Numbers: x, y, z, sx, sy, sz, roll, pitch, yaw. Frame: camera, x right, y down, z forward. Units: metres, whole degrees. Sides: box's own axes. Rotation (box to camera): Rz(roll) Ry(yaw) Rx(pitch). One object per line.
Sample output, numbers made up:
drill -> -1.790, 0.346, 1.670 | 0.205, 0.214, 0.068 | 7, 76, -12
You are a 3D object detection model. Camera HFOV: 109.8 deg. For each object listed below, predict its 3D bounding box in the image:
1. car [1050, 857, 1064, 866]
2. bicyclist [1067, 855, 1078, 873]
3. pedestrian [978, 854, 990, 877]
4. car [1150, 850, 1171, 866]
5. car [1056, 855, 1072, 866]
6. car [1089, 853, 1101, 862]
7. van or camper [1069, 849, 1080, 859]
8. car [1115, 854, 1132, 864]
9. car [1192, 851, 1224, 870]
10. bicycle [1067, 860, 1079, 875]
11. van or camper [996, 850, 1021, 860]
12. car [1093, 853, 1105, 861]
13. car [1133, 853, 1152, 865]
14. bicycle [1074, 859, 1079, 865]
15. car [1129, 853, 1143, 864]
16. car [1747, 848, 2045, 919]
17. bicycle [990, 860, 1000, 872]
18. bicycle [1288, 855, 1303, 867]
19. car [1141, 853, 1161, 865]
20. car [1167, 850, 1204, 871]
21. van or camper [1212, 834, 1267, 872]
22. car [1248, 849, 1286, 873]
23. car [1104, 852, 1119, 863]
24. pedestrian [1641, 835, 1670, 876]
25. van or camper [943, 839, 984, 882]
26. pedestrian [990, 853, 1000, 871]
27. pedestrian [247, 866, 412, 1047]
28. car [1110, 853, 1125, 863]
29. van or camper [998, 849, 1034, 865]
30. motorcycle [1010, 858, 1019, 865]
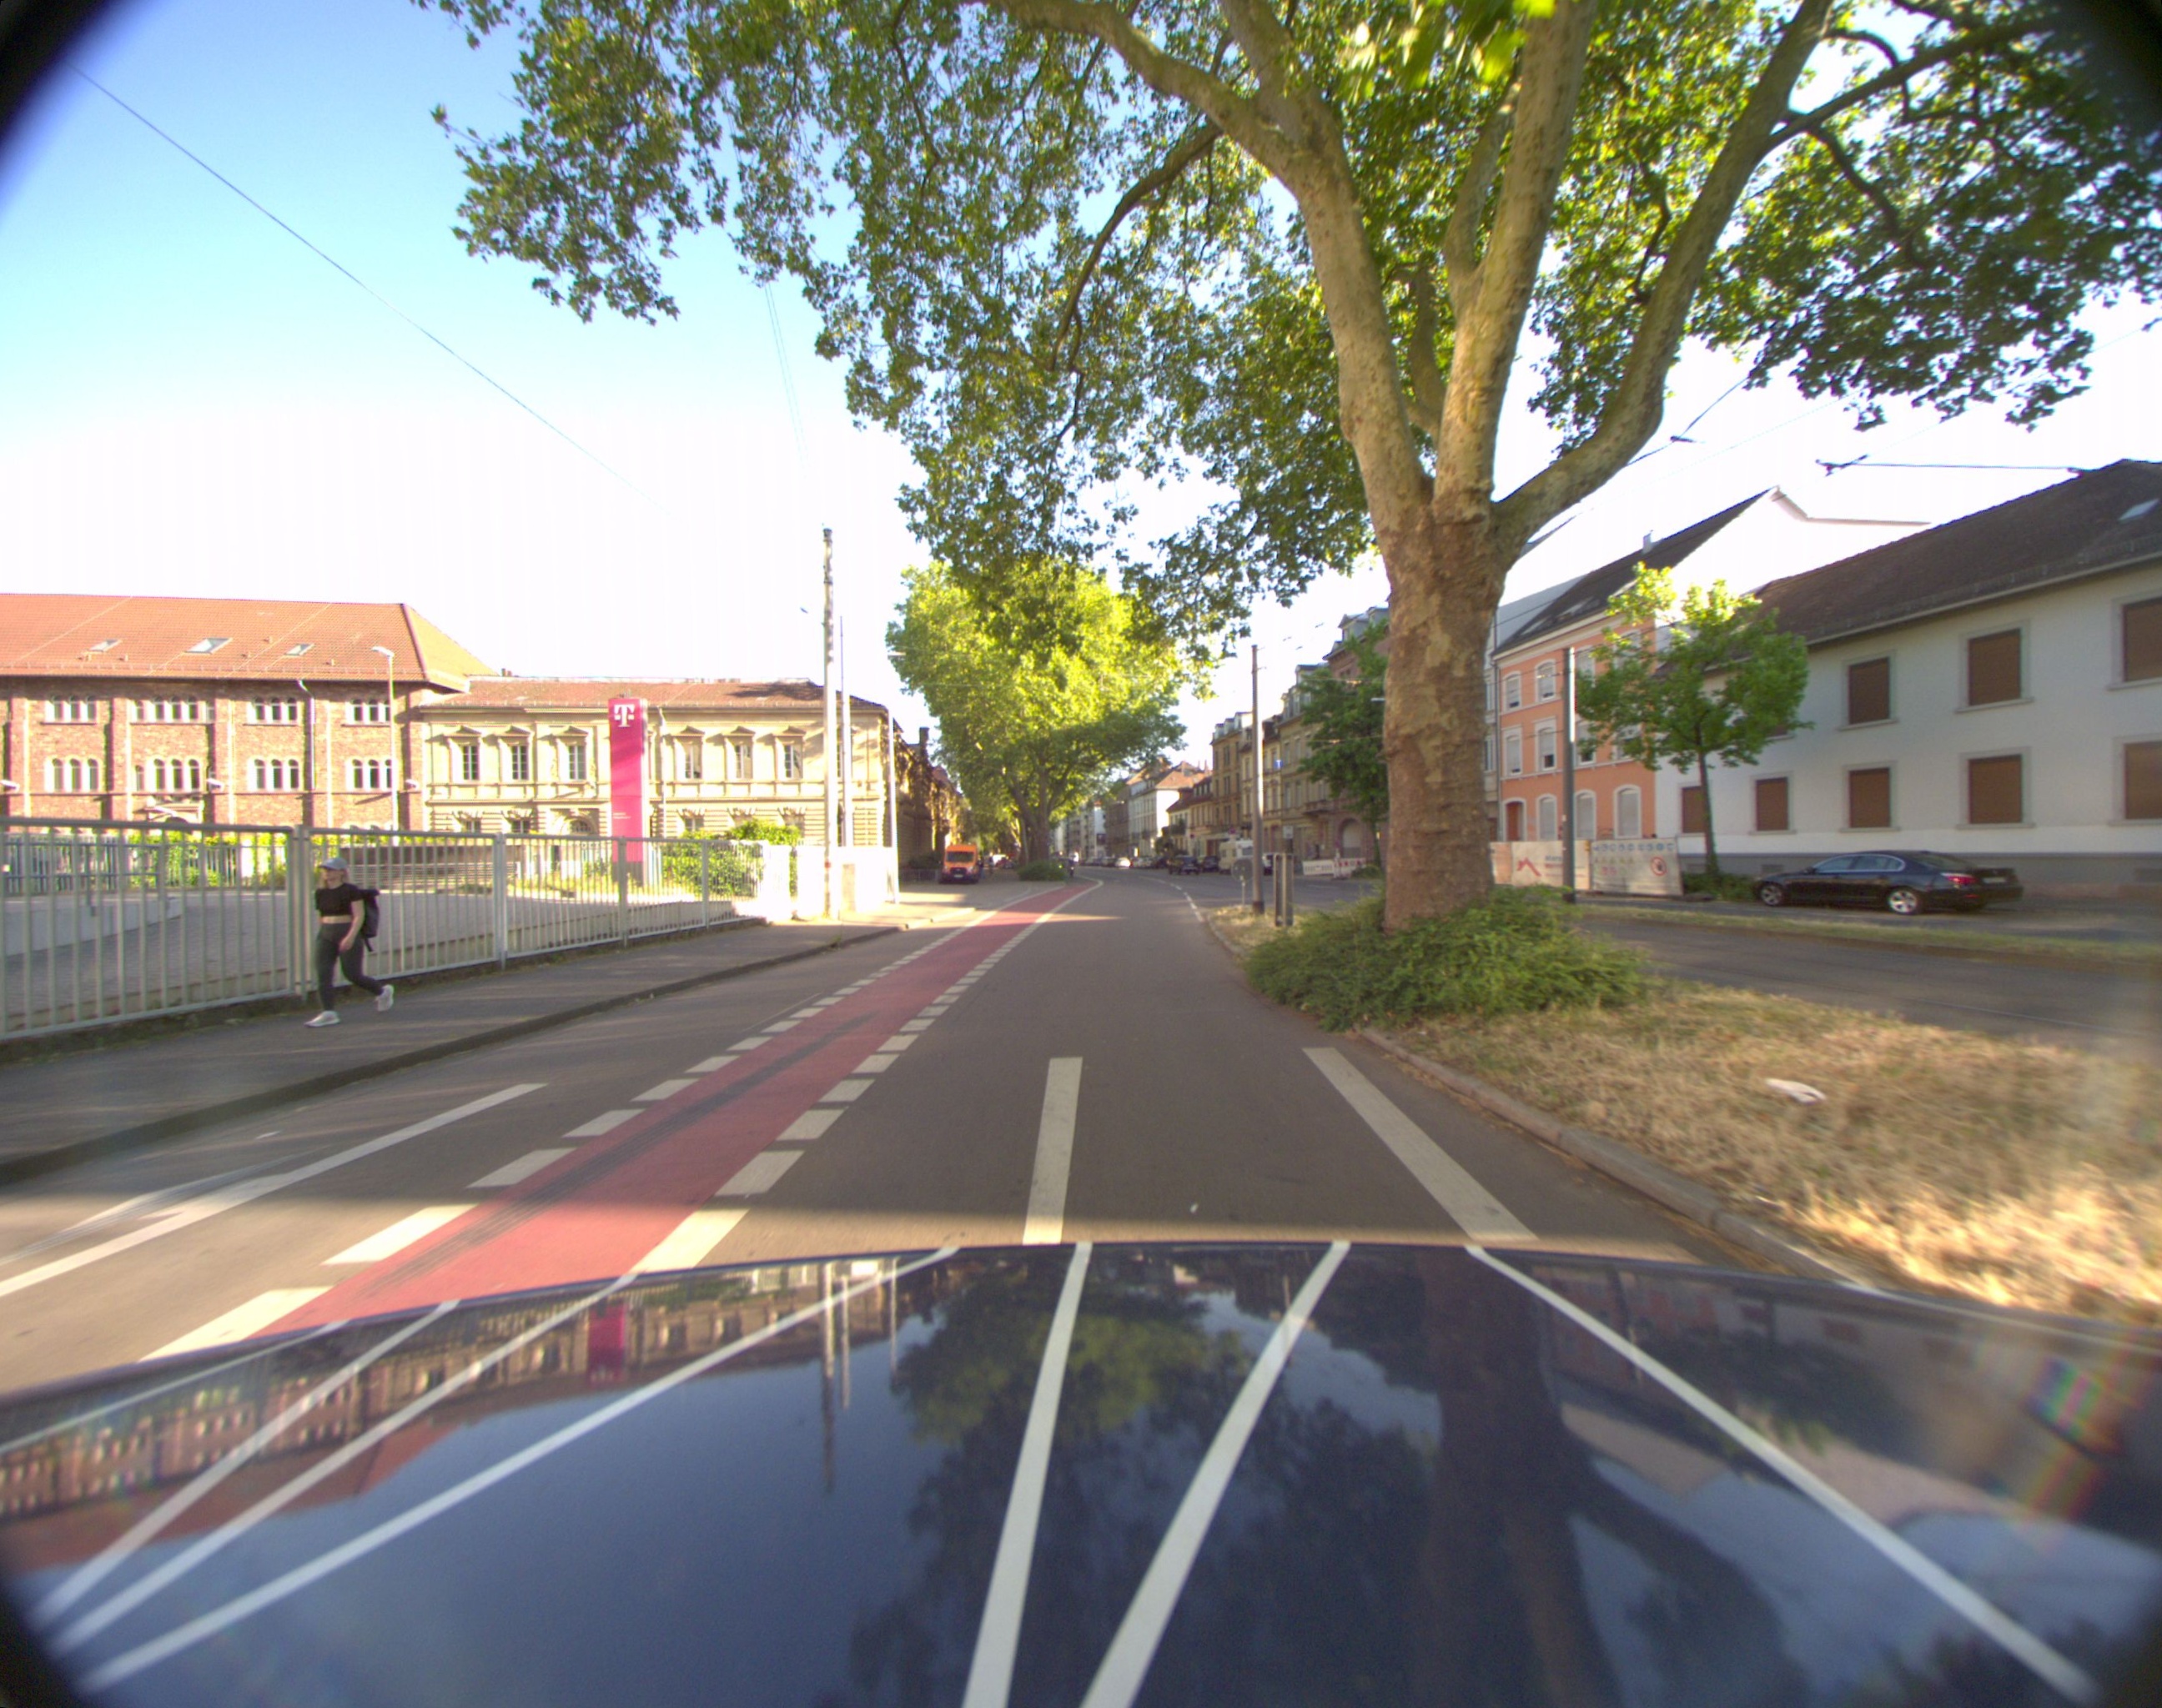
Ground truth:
car -> -3.734, 1.119, 116.341 | 1.741, 1.365, 3.916 | -3, 0, -7
bicyclist -> -0.666, 0.766, 59.564 | 0.715, 1.435, 0.953 | -1, 1, -5
pedestrian -> -7.343, 0.872, 57.382 | 0.653, 1.726, 1.006 | -1, 1, -19
car -> 9.850, 0.482, 94.496 | 1.729, 1.736, 3.623 | -4, 1, -6
car -> -2.280, 0.830, 101.473 | 1.741, 1.365, 3.916 | -3, 0, -7
car -> 2.827, 0.619, 150.380 | 1.799, 1.617, 4.081 | -3, 0, -7
van or camper -> -1.613, -0.050, 186.297 | 1.946, 2.267, 4.595 | -3, 0, -7
car -> 6.655, 0.733, 119.775 | 1.869, 1.423, 4.081 | -3, 0, -7
car -> 12.430, 0.585, 74.676 | 1.816, 1.695, 4.440 | -4, 1, -7
bicycle -> -0.656, 1.050, 59.521 | 0.715, 1.131, 2.119 | -1, 0, -6
van or camper -> -18.034, 0.254, 188.055 | 6.102, 2.417, 2.426 | -1, 0, -6
car -> 3.429, 0.583, 145.250 | 1.799, 1.368, 4.081 | -3, 0, -7
car -> 8.390, 0.691, 104.216 | 1.587, 1.482, 4.467 | -3, 0, -7
bicycle -> -0.993, 1.743, 166.198 | 0.715, 1.131, 2.119 | -1, 0, -6
car -> 7.908, 0.634, 109.602 | 1.422, 1.502, 3.324 | -3, 0, -4
car -> 19.606, 0.623, 18.677 | 2.000, 1.505, 4.722 | -1, 0, -7
bicycle -> -7.674, 1.086, 67.550 | 0.677, 1.026, 1.898 | 1, 0, -13
bicycle -> 17.903, 0.587, 63.470 | 0.580, 0.919, 1.791 | -1, 0, -4
car -> 9.057, 0.659, 98.833 | 1.668, 1.446, 4.401 | -4, 0, -7
car -> 8.788, 0.502, 64.374 | 2.000, 1.679, 4.306 | -1, 0, -8
van or camper -> 13.511, -0.082, 65.309 | 2.426, 2.930, 7.247 | -4, 1, -5
car -> 14.447, 0.532, 59.112 | 1.636, 1.696, 3.368 | -4, 1, -9
car -> 5.149, 0.584, 130.123 | 1.799, 1.630, 4.251 | -3, 0, -7
pedestrian -> 21.945, 0.055, 29.041 | 0.596, 1.561, 0.639 | -1, 1, -8
van or camper -> -7.279, 0.380, 47.552 | 2.042, 2.544, 5.770 | -1, 0, -4
pedestrian -> -7.635, 0.690, 67.454 | 0.672, 1.610, 1.101 | 1, 1, -12
pedestrian -> -7.494, 0.974, 7.633 | 0.697, 1.674, 0.930 | -1, 1, -1
car -> 5.969, 0.689, 124.831 | 1.799, 1.587, 4.081 | -3, 0, -7
van or camper -> -10.922, 0.418, 128.340 | 5.932, 2.484, 2.218 | -1, 3, -8
motorcycle -> -9.466, 1.037, 108.072 | 1.274, 1.048, 0.394 | -1, 1, -43
